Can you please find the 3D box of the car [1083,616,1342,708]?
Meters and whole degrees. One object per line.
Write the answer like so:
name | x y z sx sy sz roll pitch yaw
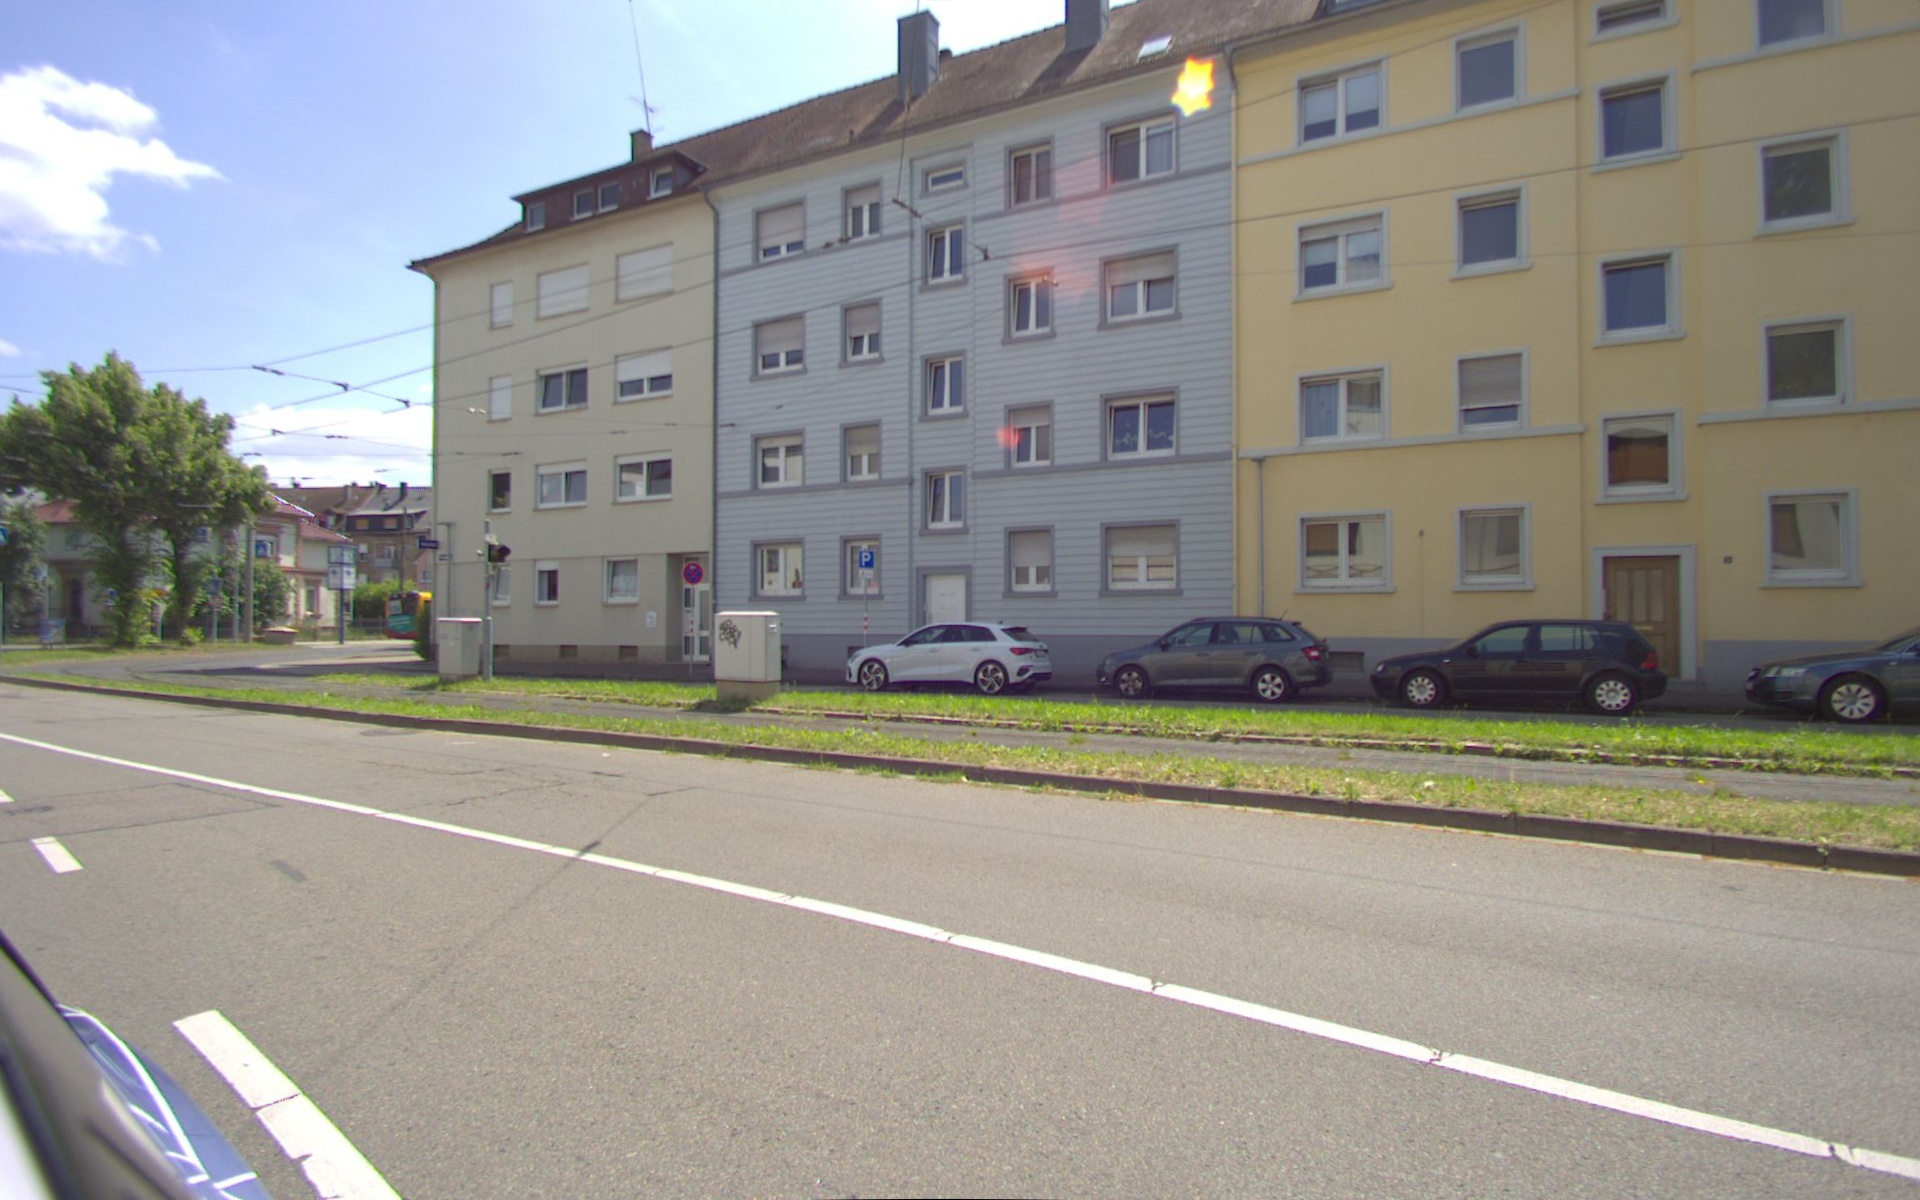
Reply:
car | 4.577 1.101 18.419 4.302 1.516 1.917 -1 -3 26

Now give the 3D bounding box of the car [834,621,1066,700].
car | -0.217 1.221 20.639 4.352 1.462 1.917 -1 -4 26

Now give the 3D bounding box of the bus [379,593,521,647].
bus | -34.121 1.451 68.442 2.678 3.322 10.824 -1 -3 10

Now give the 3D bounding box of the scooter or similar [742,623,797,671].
scooter or similar | -5.056 1.233 26.863 1.314 1.232 0.634 -1 -1 28

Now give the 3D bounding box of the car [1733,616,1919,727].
car | 13.465 0.950 13.384 4.842 1.408 1.915 -1 -4 29

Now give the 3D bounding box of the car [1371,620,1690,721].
car | 8.791 1.067 15.939 4.123 1.411 1.819 -1 -3 28
